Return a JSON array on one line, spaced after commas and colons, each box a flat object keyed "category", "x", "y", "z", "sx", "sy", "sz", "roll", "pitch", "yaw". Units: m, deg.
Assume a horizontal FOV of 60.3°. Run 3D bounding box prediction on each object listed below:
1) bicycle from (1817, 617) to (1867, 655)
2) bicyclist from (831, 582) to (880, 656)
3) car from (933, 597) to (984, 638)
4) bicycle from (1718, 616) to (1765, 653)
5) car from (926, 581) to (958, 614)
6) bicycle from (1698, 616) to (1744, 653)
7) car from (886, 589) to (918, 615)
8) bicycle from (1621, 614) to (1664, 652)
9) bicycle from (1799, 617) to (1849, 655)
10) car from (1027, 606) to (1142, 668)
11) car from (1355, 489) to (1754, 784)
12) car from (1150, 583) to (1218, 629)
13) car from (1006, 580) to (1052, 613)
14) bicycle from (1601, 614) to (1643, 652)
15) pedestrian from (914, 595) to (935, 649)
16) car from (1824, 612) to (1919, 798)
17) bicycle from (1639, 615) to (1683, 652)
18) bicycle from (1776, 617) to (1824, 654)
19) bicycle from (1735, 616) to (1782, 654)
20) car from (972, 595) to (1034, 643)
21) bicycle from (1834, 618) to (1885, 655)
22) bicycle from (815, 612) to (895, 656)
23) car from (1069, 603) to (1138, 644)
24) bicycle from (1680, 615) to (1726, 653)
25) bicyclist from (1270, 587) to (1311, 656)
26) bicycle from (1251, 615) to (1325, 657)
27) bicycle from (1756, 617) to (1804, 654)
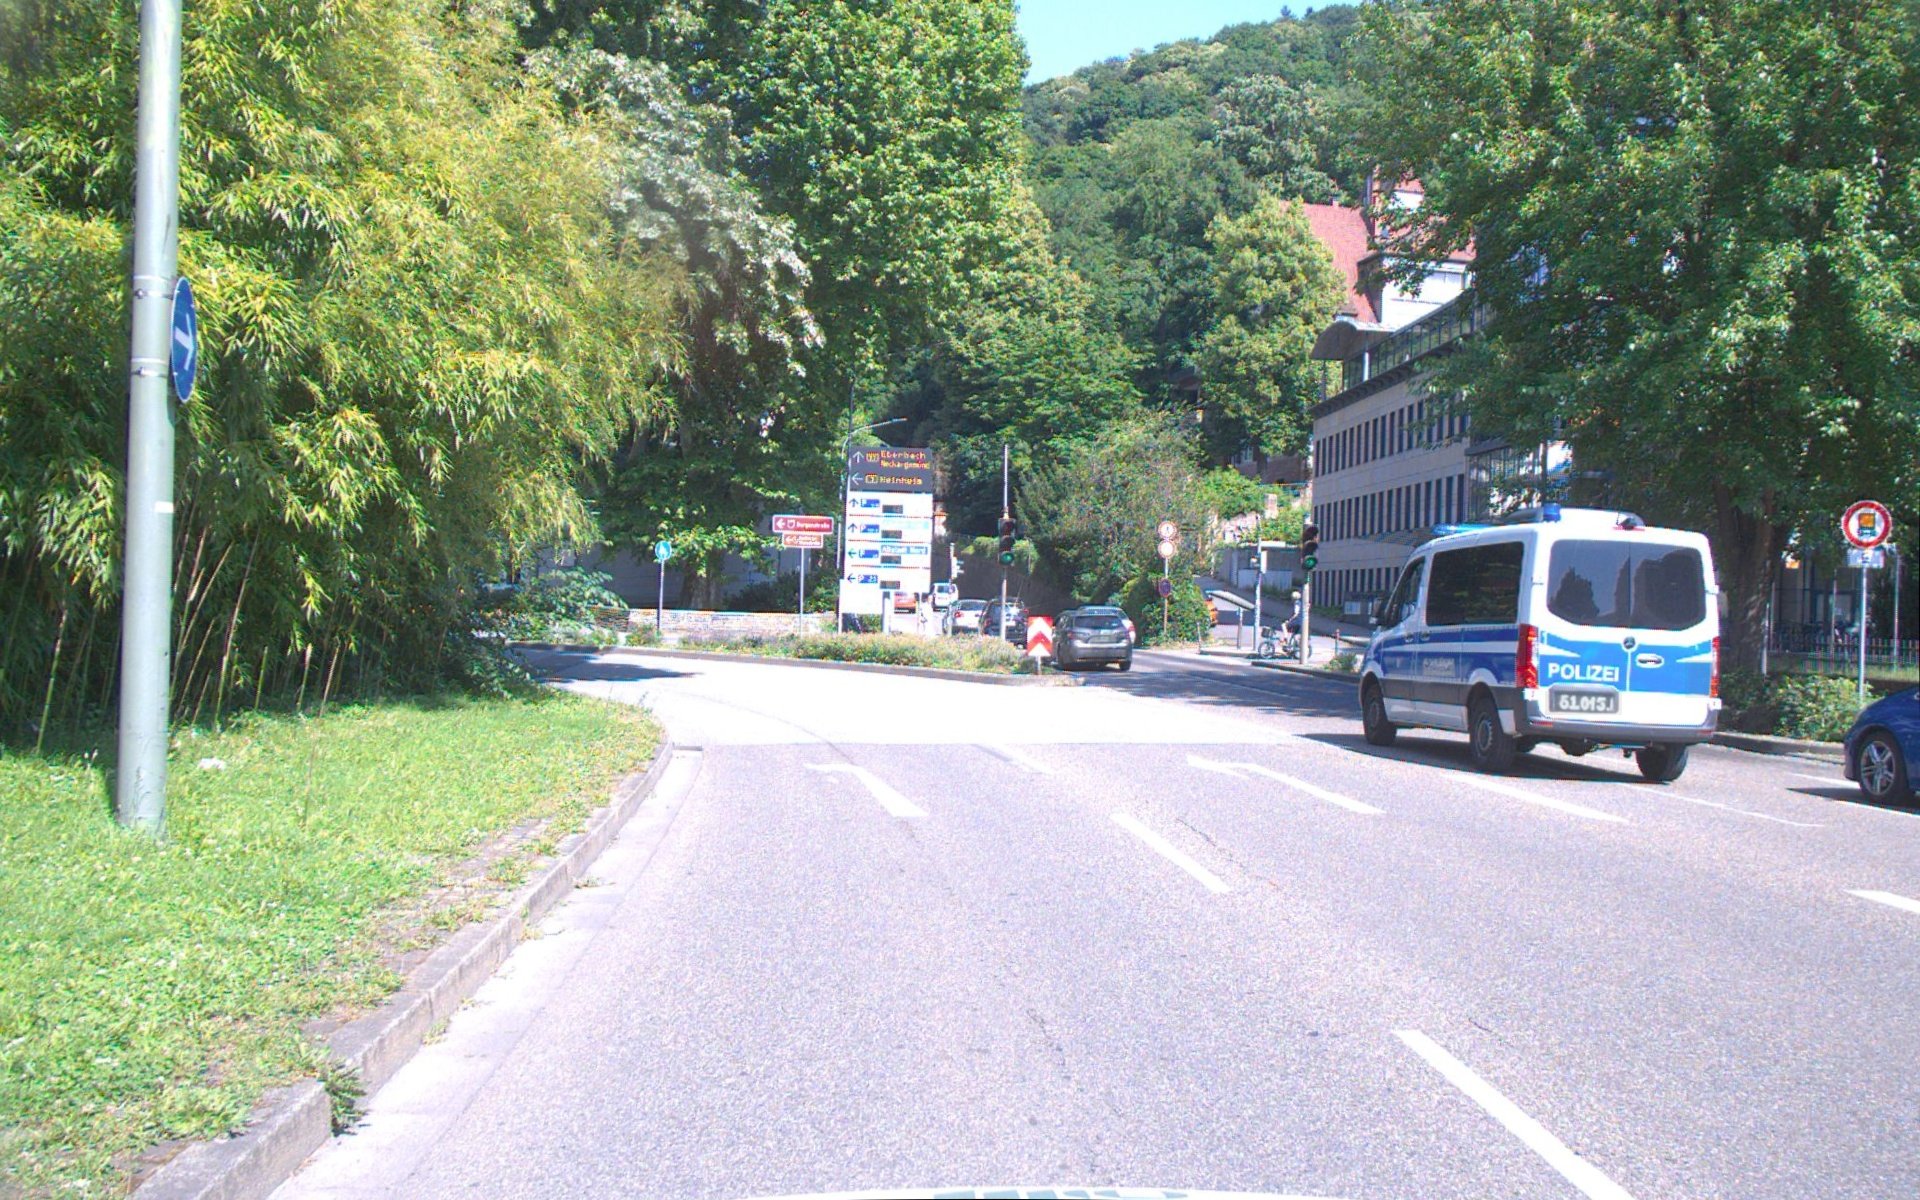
[{"category": "bicycle", "x": 27.195, "y": 1.109, "z": 51.039, "sx": 0.526, "sy": 1.104, "sz": 1.834, "roll": 1, "pitch": 0, "yaw": -1}, {"category": "bicyclist", "x": -2.870, "y": 0.520, "z": 45.495, "sx": 1.103, "sy": 1.966, "sz": 0.748, "roll": 1, "pitch": -1, "yaw": 22}, {"category": "car", "x": -0.077, "y": 0.661, "z": 64.425, "sx": 1.721, "sy": 1.486, "sz": 3.643, "roll": 2, "pitch": 0, "yaw": -4}, {"category": "bicycle", "x": 24.164, "y": 1.063, "z": 51.182, "sx": 0.526, "sy": 1.104, "sz": 1.834, "roll": 1, "pitch": 0, "yaw": -1}, {"category": "car", "x": -1.120, "y": -0.183, "z": 102.467, "sx": 1.721, "sy": 1.972, "sz": 3.491, "roll": 2, "pitch": 0, "yaw": -4}, {"category": "bicycle", "x": 23.530, "y": 1.053, "z": 51.143, "sx": 0.526, "sy": 1.104, "sz": 1.834, "roll": 1, "pitch": 0, "yaw": -1}, {"category": "car", "x": -3.394, "y": 0.106, "z": 96.648, "sx": 1.721, "sy": 1.486, "sz": 3.491, "roll": 2, "pitch": 0, "yaw": -4}, {"category": "bicycle", "x": 21.087, "y": 1.015, "z": 51.133, "sx": 0.526, "sy": 1.104, "sz": 1.834, "roll": 1, "pitch": 0, "yaw": -1}, {"category": "bicycle", "x": 26.606, "y": 1.099, "z": 50.946, "sx": 0.526, "sy": 1.104, "sz": 1.834, "roll": 1, "pitch": 0, "yaw": -1}, {"category": "car", "x": 3.005, "y": 0.875, "z": 40.658, "sx": 1.726, "sy": 1.357, "sz": 3.788, "roll": 2, "pitch": 0, "yaw": -13}, {"category": "car", "x": 5.877, "y": 0.338, "z": 17.134, "sx": 2.032, "sy": 2.552, "sz": 4.925, "roll": 2, "pitch": 0, "yaw": -4}, {"category": "car", "x": 8.826, "y": 0.226, "z": 65.498, "sx": 1.893, "sy": 1.727, "sz": 3.997, "roll": 1, "pitch": 0, "yaw": -4}, {"category": "car", "x": 3.184, "y": -0.170, "z": 77.150, "sx": 1.721, "sy": 1.486, "sz": 3.643, "roll": 2, "pitch": 0, "yaw": -4}, {"category": "bicycle", "x": 20.456, "y": 1.005, "z": 51.121, "sx": 0.526, "sy": 1.104, "sz": 1.834, "roll": 1, "pitch": 0, "yaw": -1}, {"category": "pedestrian", "x": -1.100, "y": 0.678, "z": 51.312, "sx": 0.535, "sy": 1.649, "sz": 0.635, "roll": 1, "pitch": 0, "yaw": 6}, {"category": "car", "x": 9.156, "y": 0.959, "z": 13.440, "sx": 1.686, "sy": 1.568, "sz": 4.266, "roll": 3, "pitch": 0, "yaw": -6}, {"category": "bicycle", "x": 21.670, "y": 1.024, "z": 51.159, "sx": 0.526, "sy": 1.104, "sz": 1.834, "roll": 1, "pitch": 0, "yaw": -1}, {"category": "bicycle", "x": 25.942, "y": 1.090, "z": 51.110, "sx": 0.526, "sy": 1.104, "sz": 1.834, "roll": 1, "pitch": 0, "yaw": -1}, {"category": "bicycle", "x": 24.731, "y": 1.072, "z": 51.250, "sx": 0.526, "sy": 1.104, "sz": 1.834, "roll": 1, "pitch": 0, "yaw": -1}, {"category": "car", "x": 1.400, "y": 0.594, "z": 55.111, "sx": 1.721, "sy": 1.486, "sz": 3.491, "roll": 2, "pitch": 0, "yaw": -4}, {"category": "bicycle", "x": 27.776, "y": 1.118, "z": 51.098, "sx": 0.526, "sy": 1.104, "sz": 1.834, "roll": 1, "pitch": 0, "yaw": -1}, {"category": "bicycle", "x": -2.887, "y": 0.934, "z": 45.503, "sx": 2.034, "sy": 1.132, "sz": 0.757, "roll": 2, "pitch": 0, "yaw": 22}, {"category": "car", "x": 4.663, "y": 0.743, "z": 54.003, "sx": 1.721, "sy": 1.234, "sz": 3.491, "roll": 2, "pitch": 0, "yaw": -4}, {"category": "bicycle", "x": 22.945, "y": 1.043, "z": 51.102, "sx": 0.526, "sy": 1.104, "sz": 1.834, "roll": 1, "pitch": 0, "yaw": -1}, {"category": "bicyclist", "x": 9.509, "y": 0.615, "z": 47.642, "sx": 1.102, "sy": 1.966, "sz": 0.749, "roll": 1, "pitch": 0, "yaw": 9}, {"category": "bicycle", "x": 9.439, "y": 1.026, "z": 47.652, "sx": 2.032, "sy": 1.132, "sz": 0.757, "roll": 2, "pitch": 0, "yaw": 9}, {"category": "bicycle", "x": 25.308, "y": 1.080, "z": 51.079, "sx": 0.526, "sy": 1.104, "sz": 1.834, "roll": 1, "pitch": 0, "yaw": -1}]
